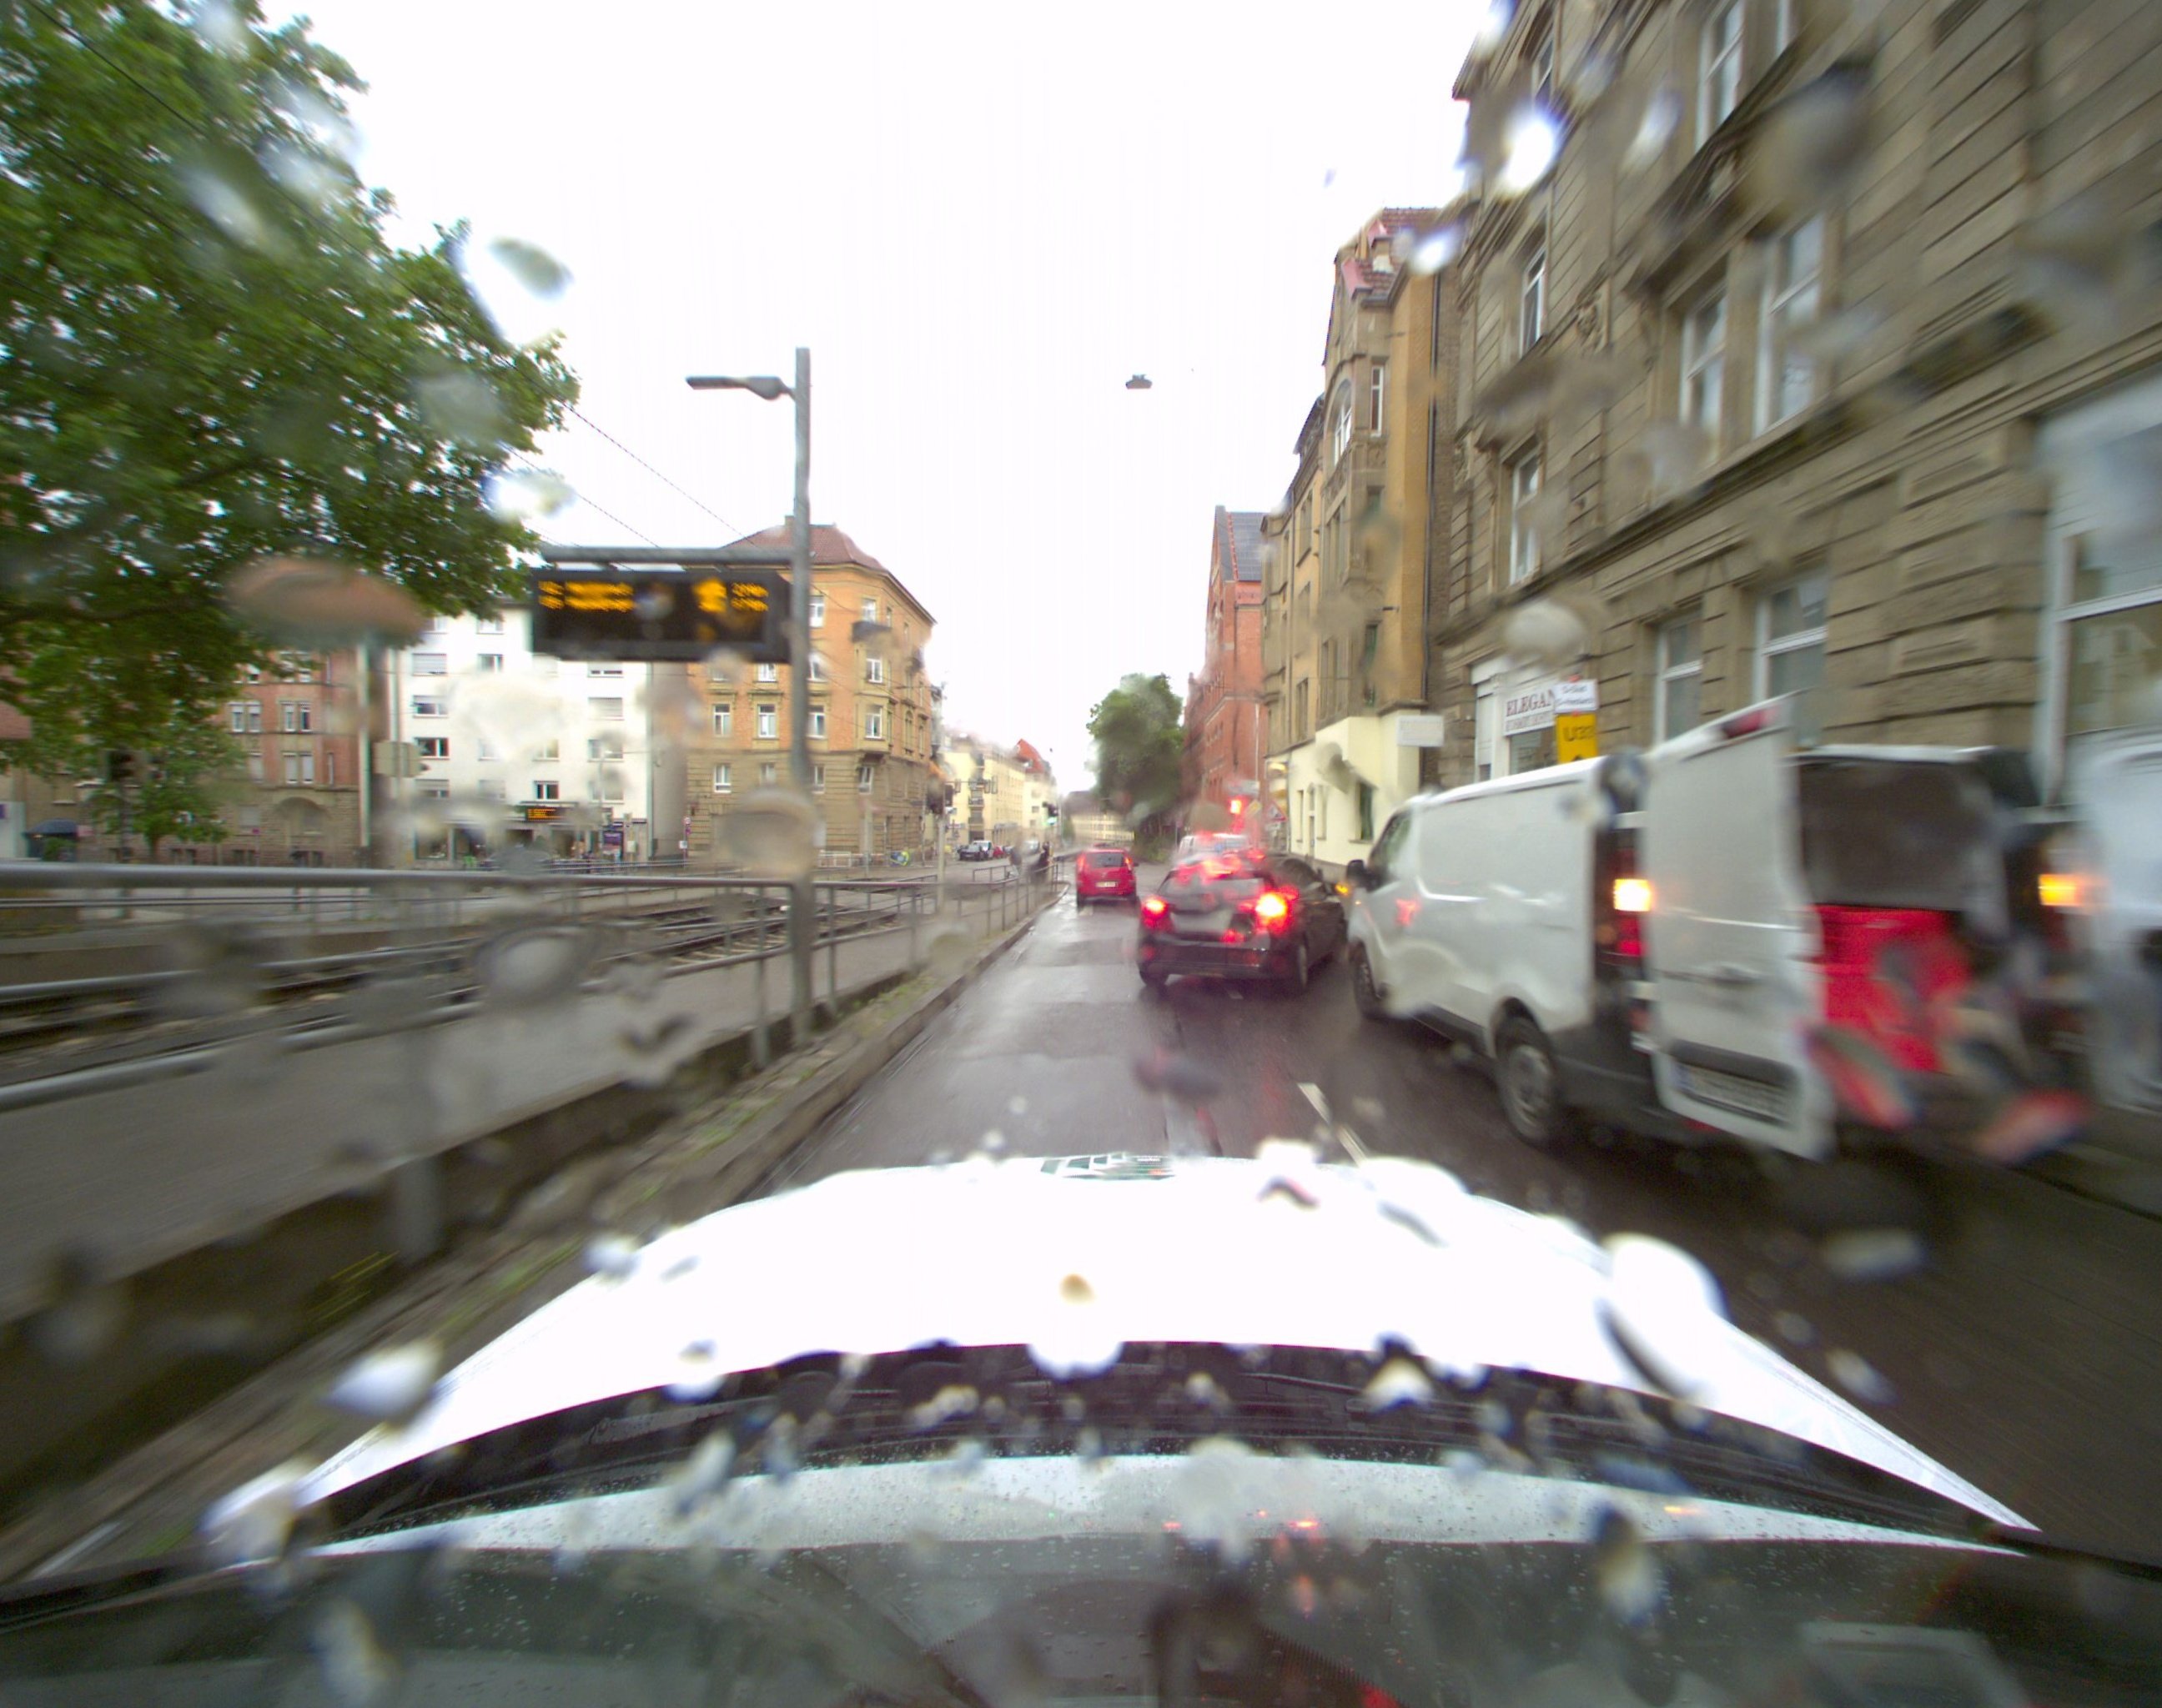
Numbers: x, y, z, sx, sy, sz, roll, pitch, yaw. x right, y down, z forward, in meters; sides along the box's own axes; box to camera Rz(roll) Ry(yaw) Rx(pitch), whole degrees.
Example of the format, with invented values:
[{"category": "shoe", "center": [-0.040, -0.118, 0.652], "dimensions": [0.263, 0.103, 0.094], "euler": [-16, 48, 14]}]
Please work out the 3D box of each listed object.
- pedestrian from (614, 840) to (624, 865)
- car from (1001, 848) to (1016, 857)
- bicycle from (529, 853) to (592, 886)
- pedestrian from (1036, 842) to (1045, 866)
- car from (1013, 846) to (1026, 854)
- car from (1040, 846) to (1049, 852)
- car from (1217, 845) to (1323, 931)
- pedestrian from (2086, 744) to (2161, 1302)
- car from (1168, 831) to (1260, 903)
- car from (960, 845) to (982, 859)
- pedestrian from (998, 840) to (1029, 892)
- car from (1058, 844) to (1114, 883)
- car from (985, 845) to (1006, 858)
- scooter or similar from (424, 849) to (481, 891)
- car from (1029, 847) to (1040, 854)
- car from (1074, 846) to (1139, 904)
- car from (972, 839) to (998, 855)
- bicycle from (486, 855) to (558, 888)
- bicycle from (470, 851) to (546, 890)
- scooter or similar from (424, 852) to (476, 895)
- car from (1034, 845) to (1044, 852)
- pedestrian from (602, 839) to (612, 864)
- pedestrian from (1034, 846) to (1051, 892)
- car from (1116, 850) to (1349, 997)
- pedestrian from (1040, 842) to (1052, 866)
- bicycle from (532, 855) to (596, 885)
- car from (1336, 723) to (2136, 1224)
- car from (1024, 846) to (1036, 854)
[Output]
[{"category": "pedestrian", "center": [-30.370, -0.121, 53.536], "dimensions": [0.520, 1.622, 0.481], "euler": [0, 0, -37]}, {"category": "car", "center": [-9.047, -0.205, 102.176], "dimensions": [1.431, 1.106, 3.164], "euler": [1, 0, 3]}, {"category": "bicycle", "center": [-18.118, 0.530, 28.375], "dimensions": [1.766, 1.142, 0.516], "euler": [0, 0, -9]}, {"category": "pedestrian", "center": [-2.843, -0.024, 56.783], "dimensions": [0.516, 1.665, 0.477], "euler": [2, 1, 6]}, {"category": "car", "center": [-8.703, -0.535, 115.415], "dimensions": [1.389, 1.171, 3.165], "euler": [1, 0, 3]}, {"category": "car", "center": [-6.903, -0.963, 155.078], "dimensions": [1.389, 1.171, 3.165], "euler": [1, 0, 3]}, {"category": "car", "center": [3.625, 0.580, 16.280], "dimensions": [1.703, 1.469, 4.291], "euler": [1, 0, 8]}, {"category": "pedestrian", "center": [3.838, 0.527, 2.556], "dimensions": [0.690, 1.754, 0.826], "euler": [-1, 0, -40]}, {"category": "car", "center": [3.618, 0.307, 22.902], "dimensions": [1.927, 1.831, 4.281], "euler": [1, 1, 0]}, {"category": "car", "center": [-10.301, -0.210, 76.613], "dimensions": [1.446, 1.318, 3.297], "euler": [2, 1, 2]}, {"category": "pedestrian", "center": [-2.278, 0.392, 27.474], "dimensions": [0.745, 1.724, 0.732], "euler": [0, 0, -41]}, {"category": "car", "center": [0.172, 0.369, 33.980], "dimensions": [1.424, 1.489, 3.143], "euler": [1, 1, -18]}, {"category": "car", "center": [-9.367, -0.275, 89.741], "dimensions": [1.673, 1.356, 3.706], "euler": [1, 0, 3]}, {"category": "scooter or similar", "center": [-18.318, 0.444, 23.748], "dimensions": [0.296, 1.195, 1.259], "euler": [1, 0, 42]}, {"category": "car", "center": [-7.552, -0.540, 133.189], "dimensions": [1.389, 1.171, 3.165], "euler": [1, 0, 3]}, {"category": "car", "center": [0.692, 0.523, 22.810], "dimensions": [1.674, 1.489, 3.613], "euler": [0, 1, 1]}, {"category": "car", "center": [-9.759, -0.721, 83.131], "dimensions": [1.779, 1.530, 4.466], "euler": [1, 0, 3]}, {"category": "bicycle", "center": [-18.039, 0.563, 26.301], "dimensions": [1.870, 1.061, 0.516], "euler": [0, 0, -9]}, {"category": "bicycle", "center": [-17.814, 0.509, 25.339], "dimensions": [1.870, 1.195, 0.516], "euler": [0, 0, -9]}, {"category": "scooter or similar", "center": [-17.956, 0.534, 23.202], "dimensions": [0.357, 1.195, 1.119], "euler": [1, 0, 42]}, {"category": "car", "center": [-7.365, -0.973, 142.514], "dimensions": [1.389, 1.171, 3.165], "euler": [1, 0, 3]}, {"category": "pedestrian", "center": [-31.061, -0.161, 53.407], "dimensions": [0.520, 1.622, 0.481], "euler": [0, 0, -37]}, {"category": "pedestrian", "center": [-1.302, 0.495, 27.355], "dimensions": [0.530, 1.530, 0.436], "euler": [1, 0, -5]}, {"category": "car", "center": [2.056, 0.650, 9.961], "dimensions": [1.878, 1.390, 4.023], "euler": [0, 0, 24]}, {"category": "pedestrian", "center": [-2.400, 0.004, 55.622], "dimensions": [0.674, 1.661, 0.678], "euler": [0, 0, 9]}, {"category": "bicycle", "center": [-18.403, 0.576, 29.006], "dimensions": [1.870, 1.065, 0.516], "euler": [0, 0, -9]}, {"category": "car", "center": [3.278, 0.442, 5.532], "dimensions": [1.912, 1.936, 4.690], "euler": [0, 0, 4]}, {"category": "car", "center": [-7.963, -0.663, 126.822], "dimensions": [1.389, 1.171, 3.165], "euler": [1, 0, 3]}]
